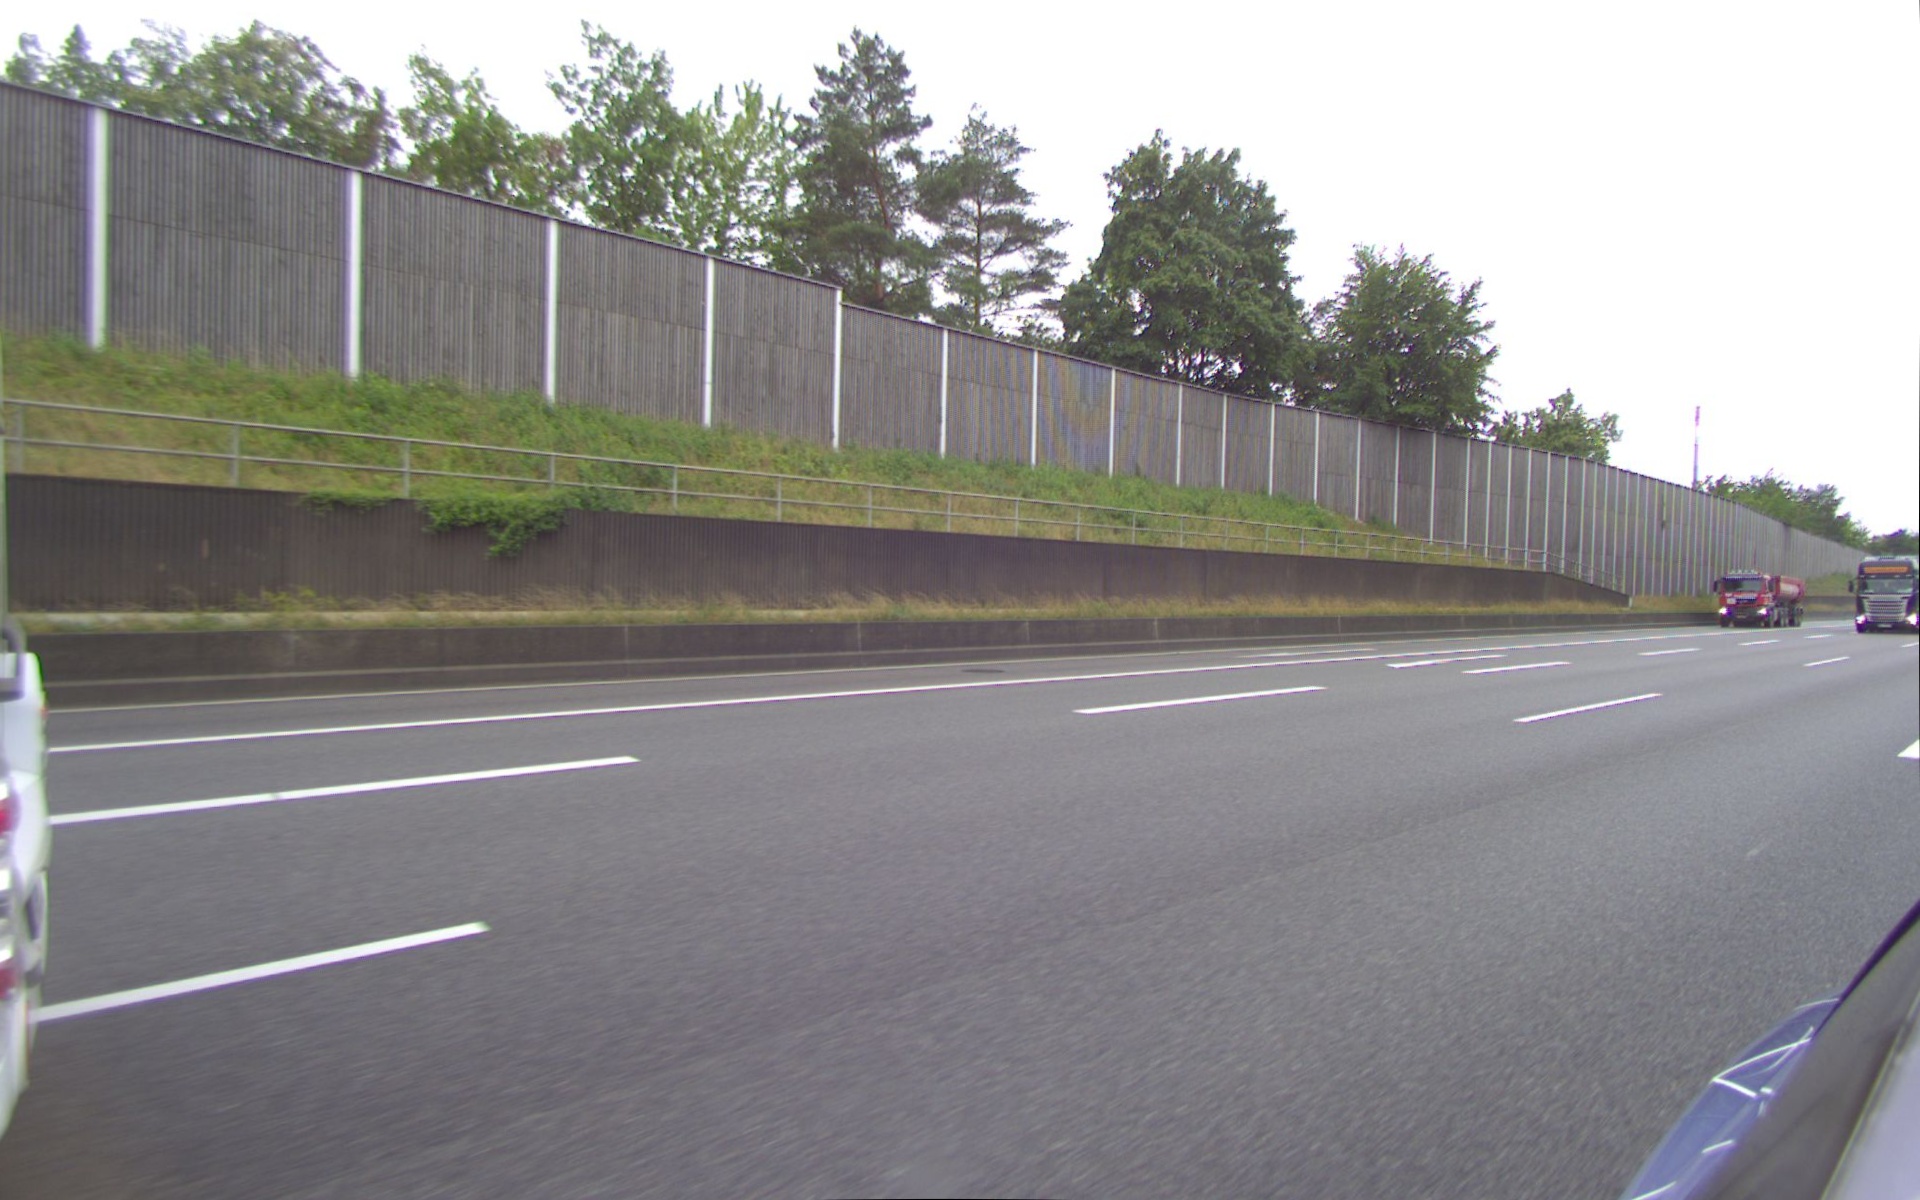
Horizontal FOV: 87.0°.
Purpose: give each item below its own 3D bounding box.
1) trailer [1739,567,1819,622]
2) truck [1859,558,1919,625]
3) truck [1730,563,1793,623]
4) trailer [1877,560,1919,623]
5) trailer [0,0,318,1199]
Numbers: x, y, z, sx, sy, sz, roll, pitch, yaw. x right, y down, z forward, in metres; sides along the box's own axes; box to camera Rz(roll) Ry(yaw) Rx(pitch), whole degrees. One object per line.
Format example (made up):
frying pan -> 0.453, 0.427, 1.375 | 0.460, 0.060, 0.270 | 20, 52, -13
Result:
trailer -> 52.735, -0.377, 65.064 | 9.237, 3.288, 2.450 | 0, 2, -41
truck -> 48.239, -0.427, 51.872 | 4.551, 3.277, 2.616 | 0, 2, -41
truck -> 48.532, -0.445, 61.279 | 3.933, 3.508, 2.417 | 0, 2, -44
trailer -> 53.593, -0.444, 56.259 | 9.741, 3.288, 2.599 | 0, 2, -41
trailer -> -4.918, 0.073, 0.561 | 7.383, 2.676, 2.724 | 0, 0, -42
